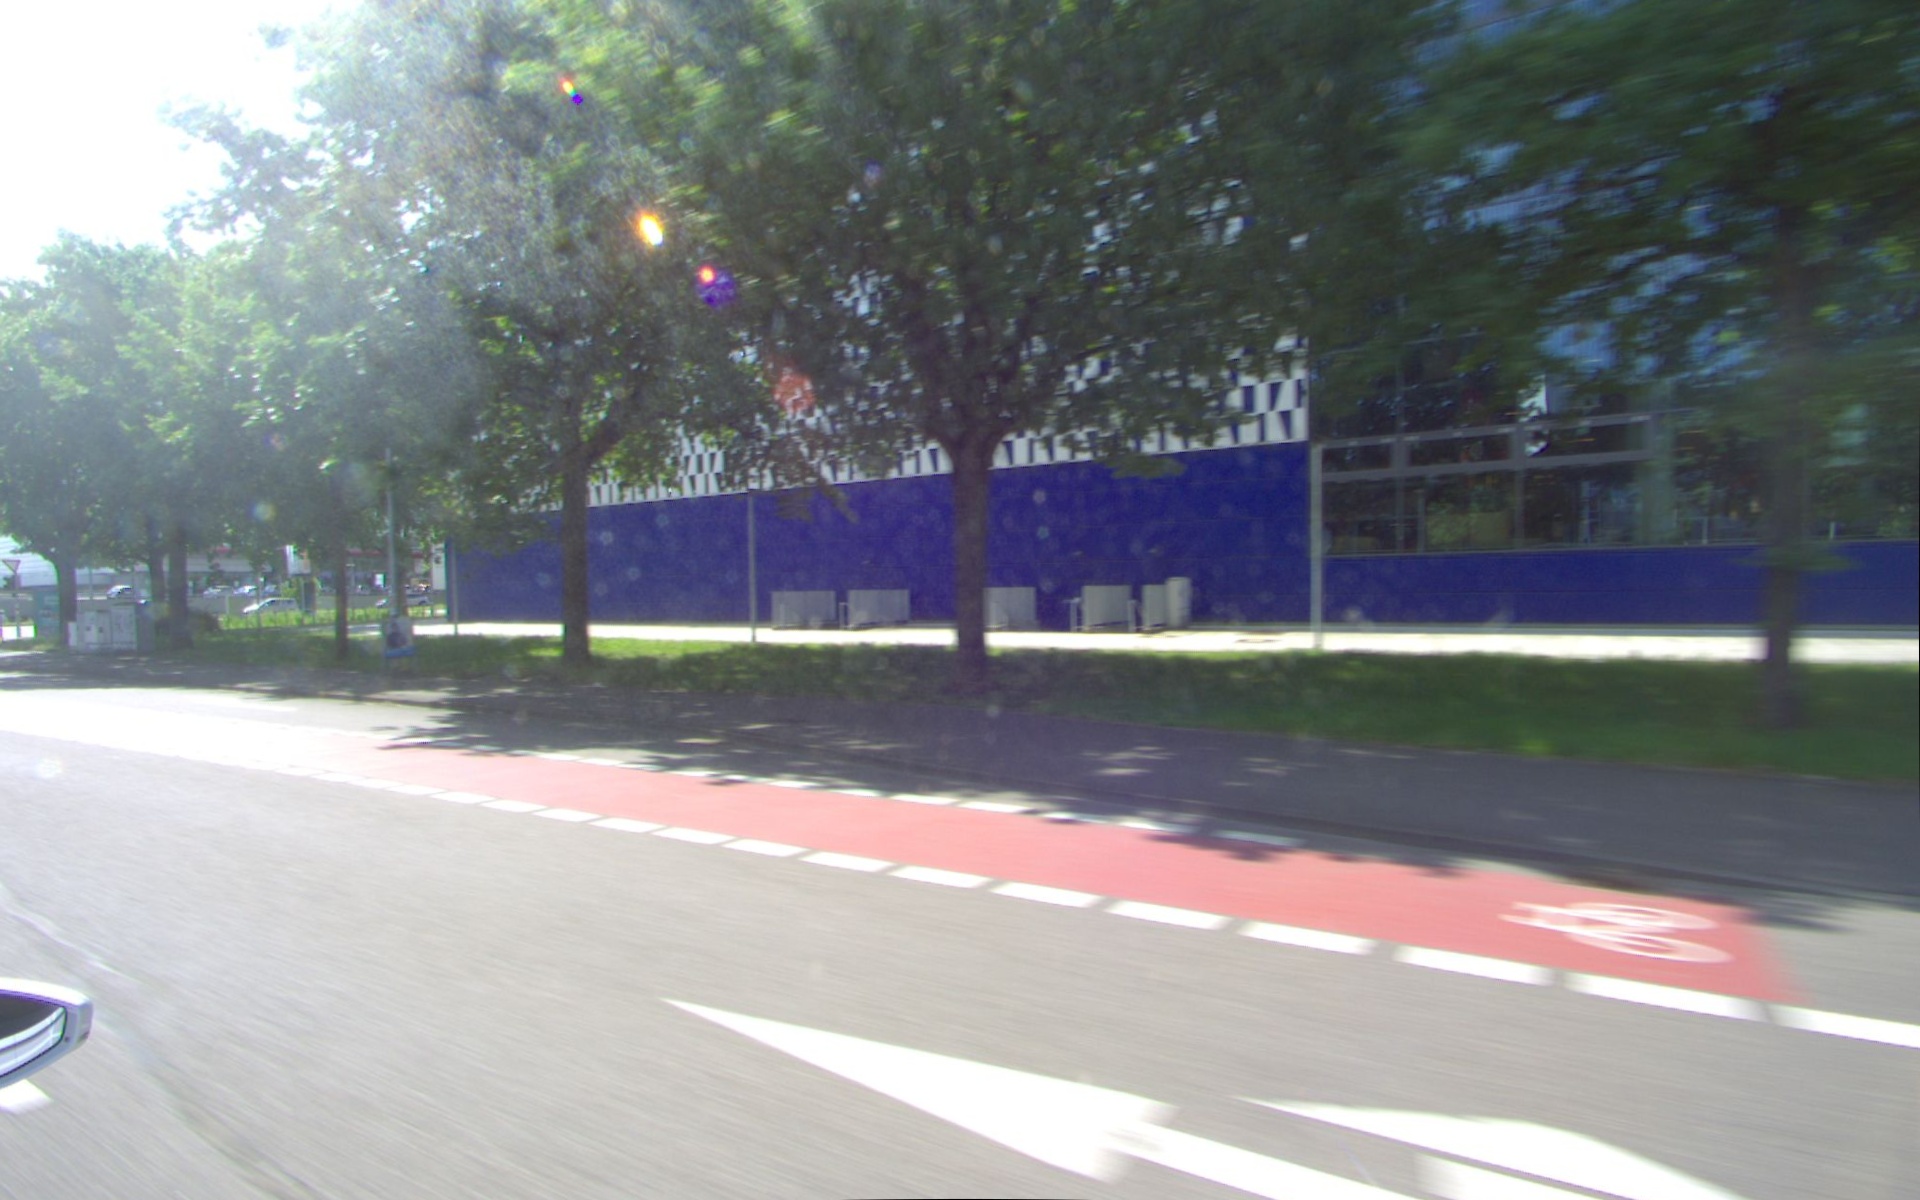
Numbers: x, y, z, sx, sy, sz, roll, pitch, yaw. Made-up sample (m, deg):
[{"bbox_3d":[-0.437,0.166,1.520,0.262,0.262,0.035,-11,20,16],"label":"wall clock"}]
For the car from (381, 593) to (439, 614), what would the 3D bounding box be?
[{"bbox_3d":[-47.944,0.314,87.299,1.462,1.540,4.114,0,4,37],"label":"car"}]

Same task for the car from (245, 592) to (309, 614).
[{"bbox_3d":[-56.991,0.229,83.619,1.462,1.540,4.114,0,4,37],"label":"car"}]

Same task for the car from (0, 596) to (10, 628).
[{"bbox_3d":[-62.781,0.880,62.768,1.462,2.022,4.383,0,4,37],"label":"car"}]
